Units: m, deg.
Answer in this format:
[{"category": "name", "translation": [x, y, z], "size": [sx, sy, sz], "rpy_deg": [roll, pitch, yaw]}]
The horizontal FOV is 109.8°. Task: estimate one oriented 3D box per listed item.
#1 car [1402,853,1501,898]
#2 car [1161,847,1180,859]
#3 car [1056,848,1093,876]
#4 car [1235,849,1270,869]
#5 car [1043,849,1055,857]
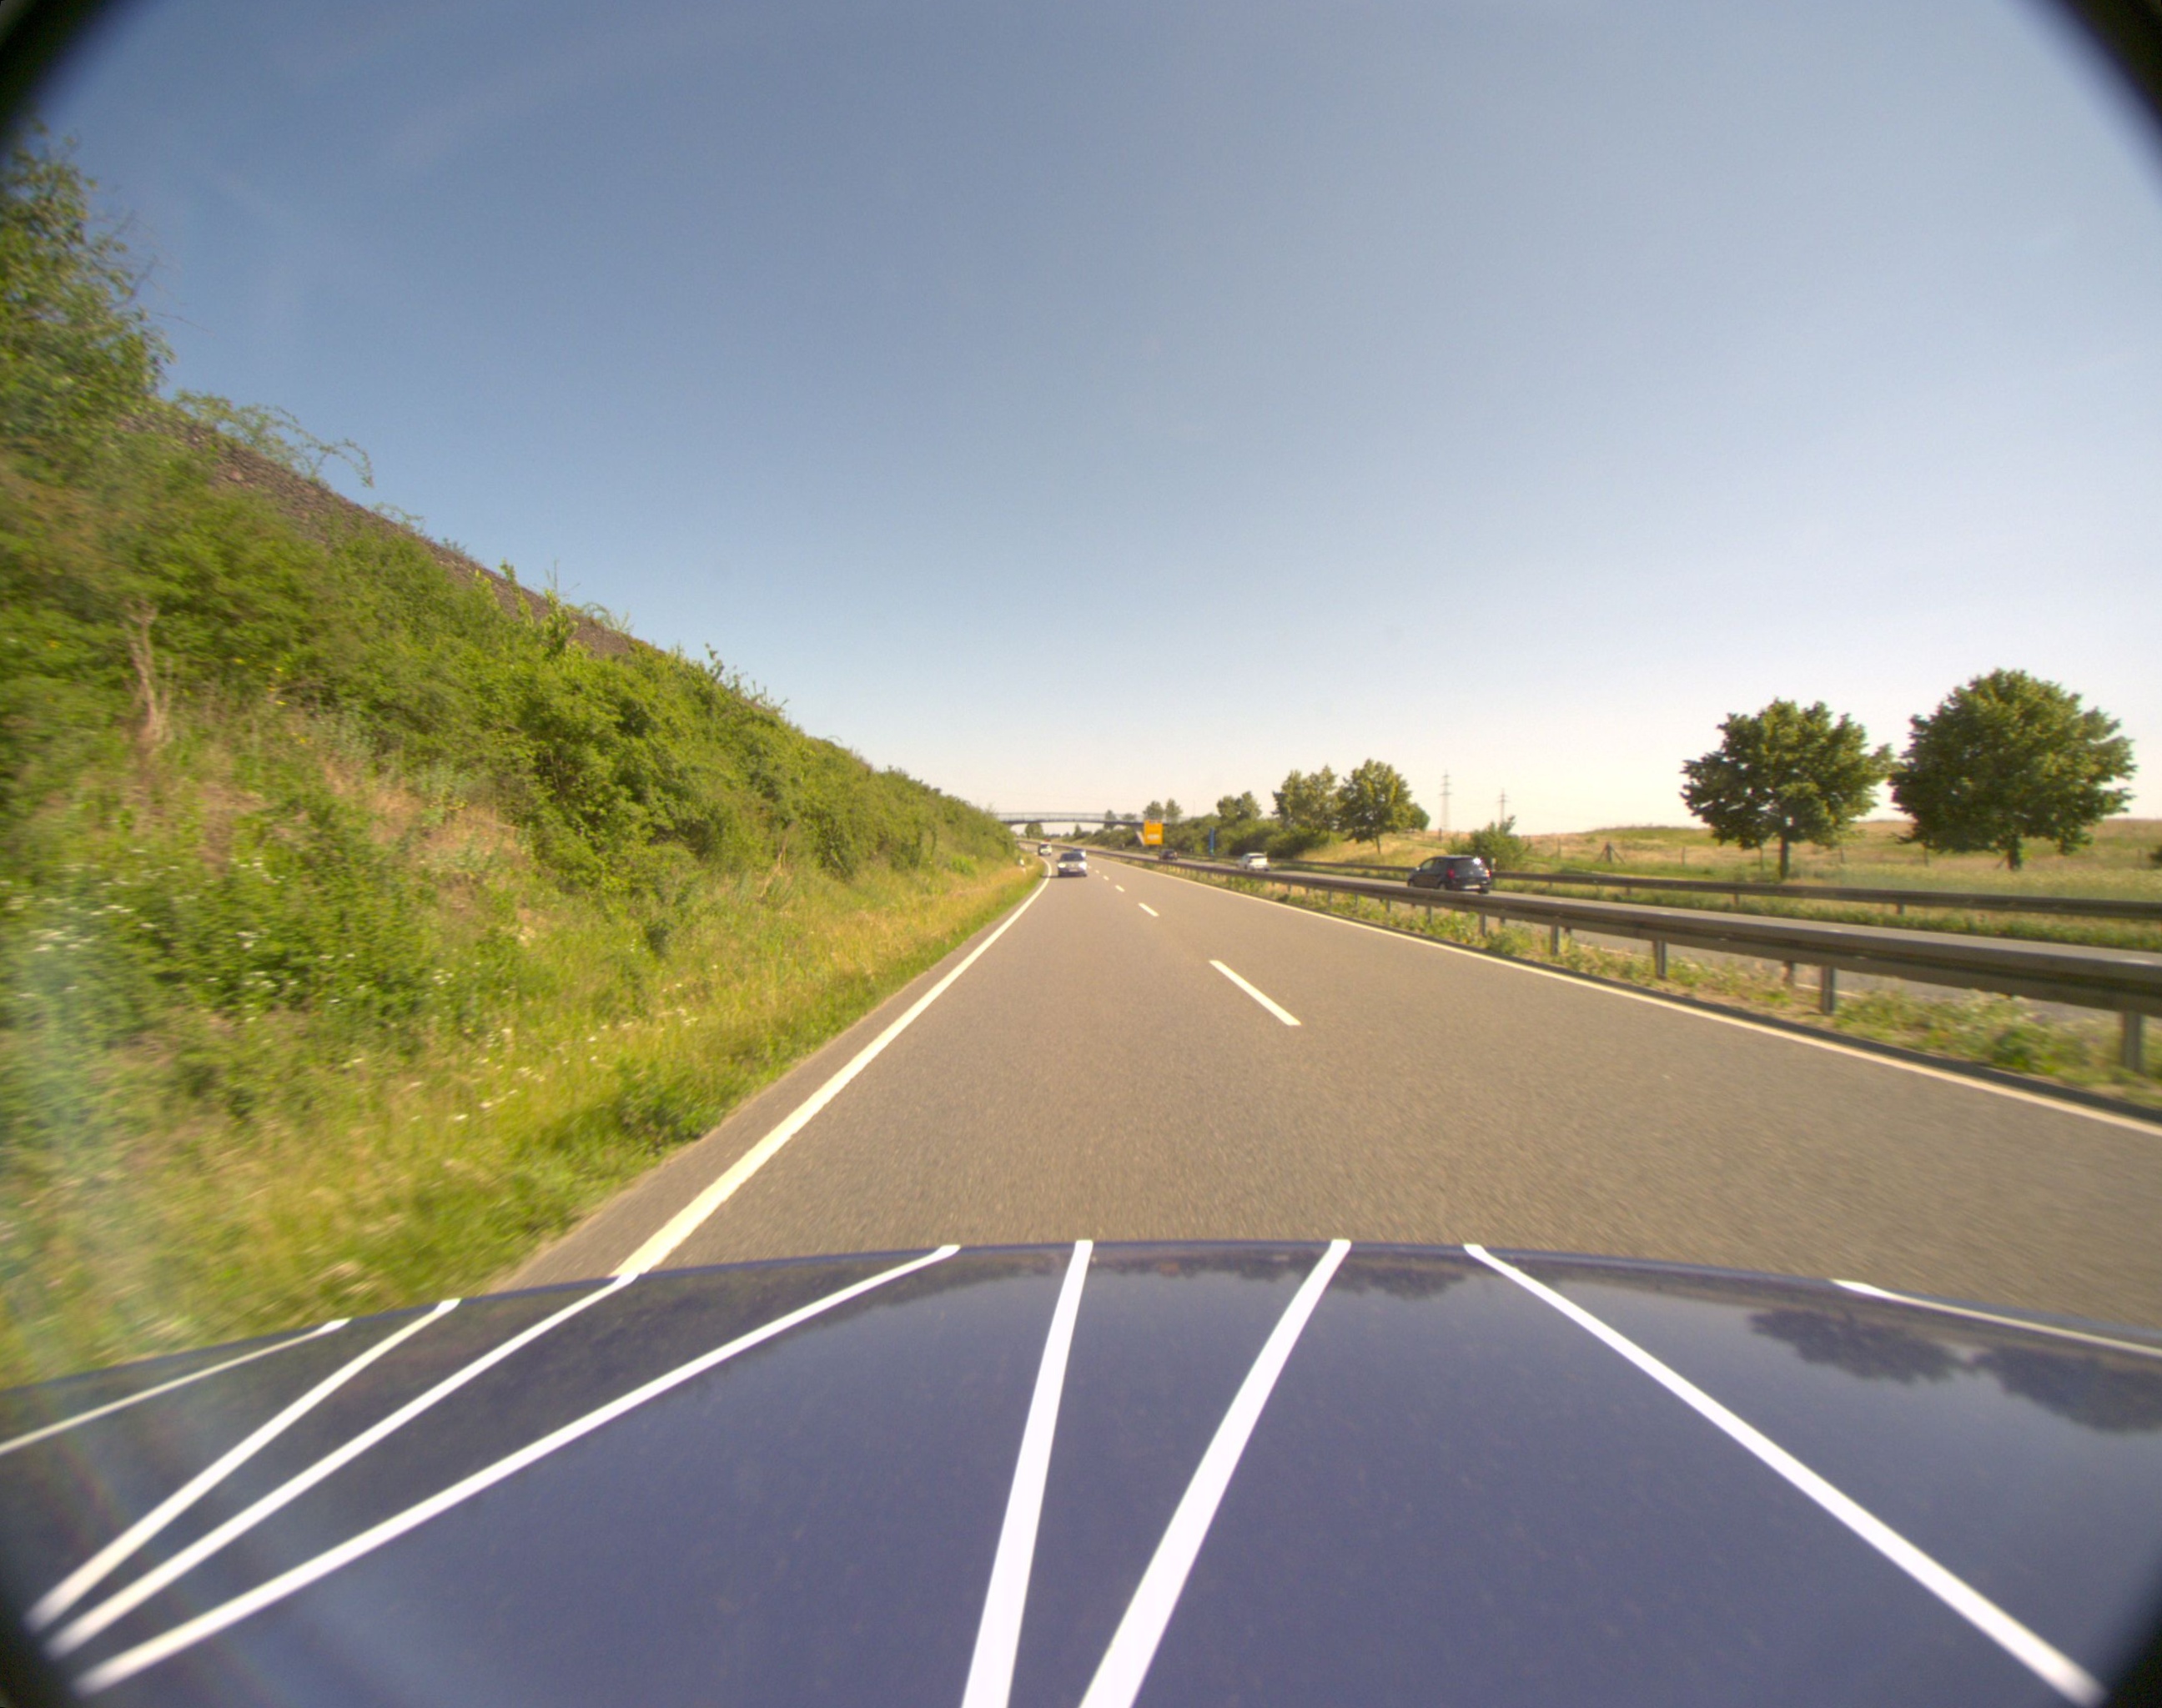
[{"category": "car", "translation": [14.122, 0.766, 29.227], "size": [1.759, 1.524, 3.999], "rpy_deg": [-2, 1, -1]}, {"category": "car", "translation": [11.482, -0.099, 97.463], "size": [1.876, 1.393, 4.321], "rpy_deg": [-2, 1, -1]}, {"category": "car", "translation": [-0.369, 0.476, 47.893], "size": [1.854, 1.635, 4.001], "rpy_deg": [-2, 1, 5]}, {"category": "car", "translation": [13.511, 0.340, 59.990], "size": [1.673, 1.424, 4.347], "rpy_deg": [-2, 1, 0]}, {"category": "car", "translation": [-5.231, -0.158, 122.940], "size": [1.791, 1.212, 3.997], "rpy_deg": [0, 2, -4]}]
